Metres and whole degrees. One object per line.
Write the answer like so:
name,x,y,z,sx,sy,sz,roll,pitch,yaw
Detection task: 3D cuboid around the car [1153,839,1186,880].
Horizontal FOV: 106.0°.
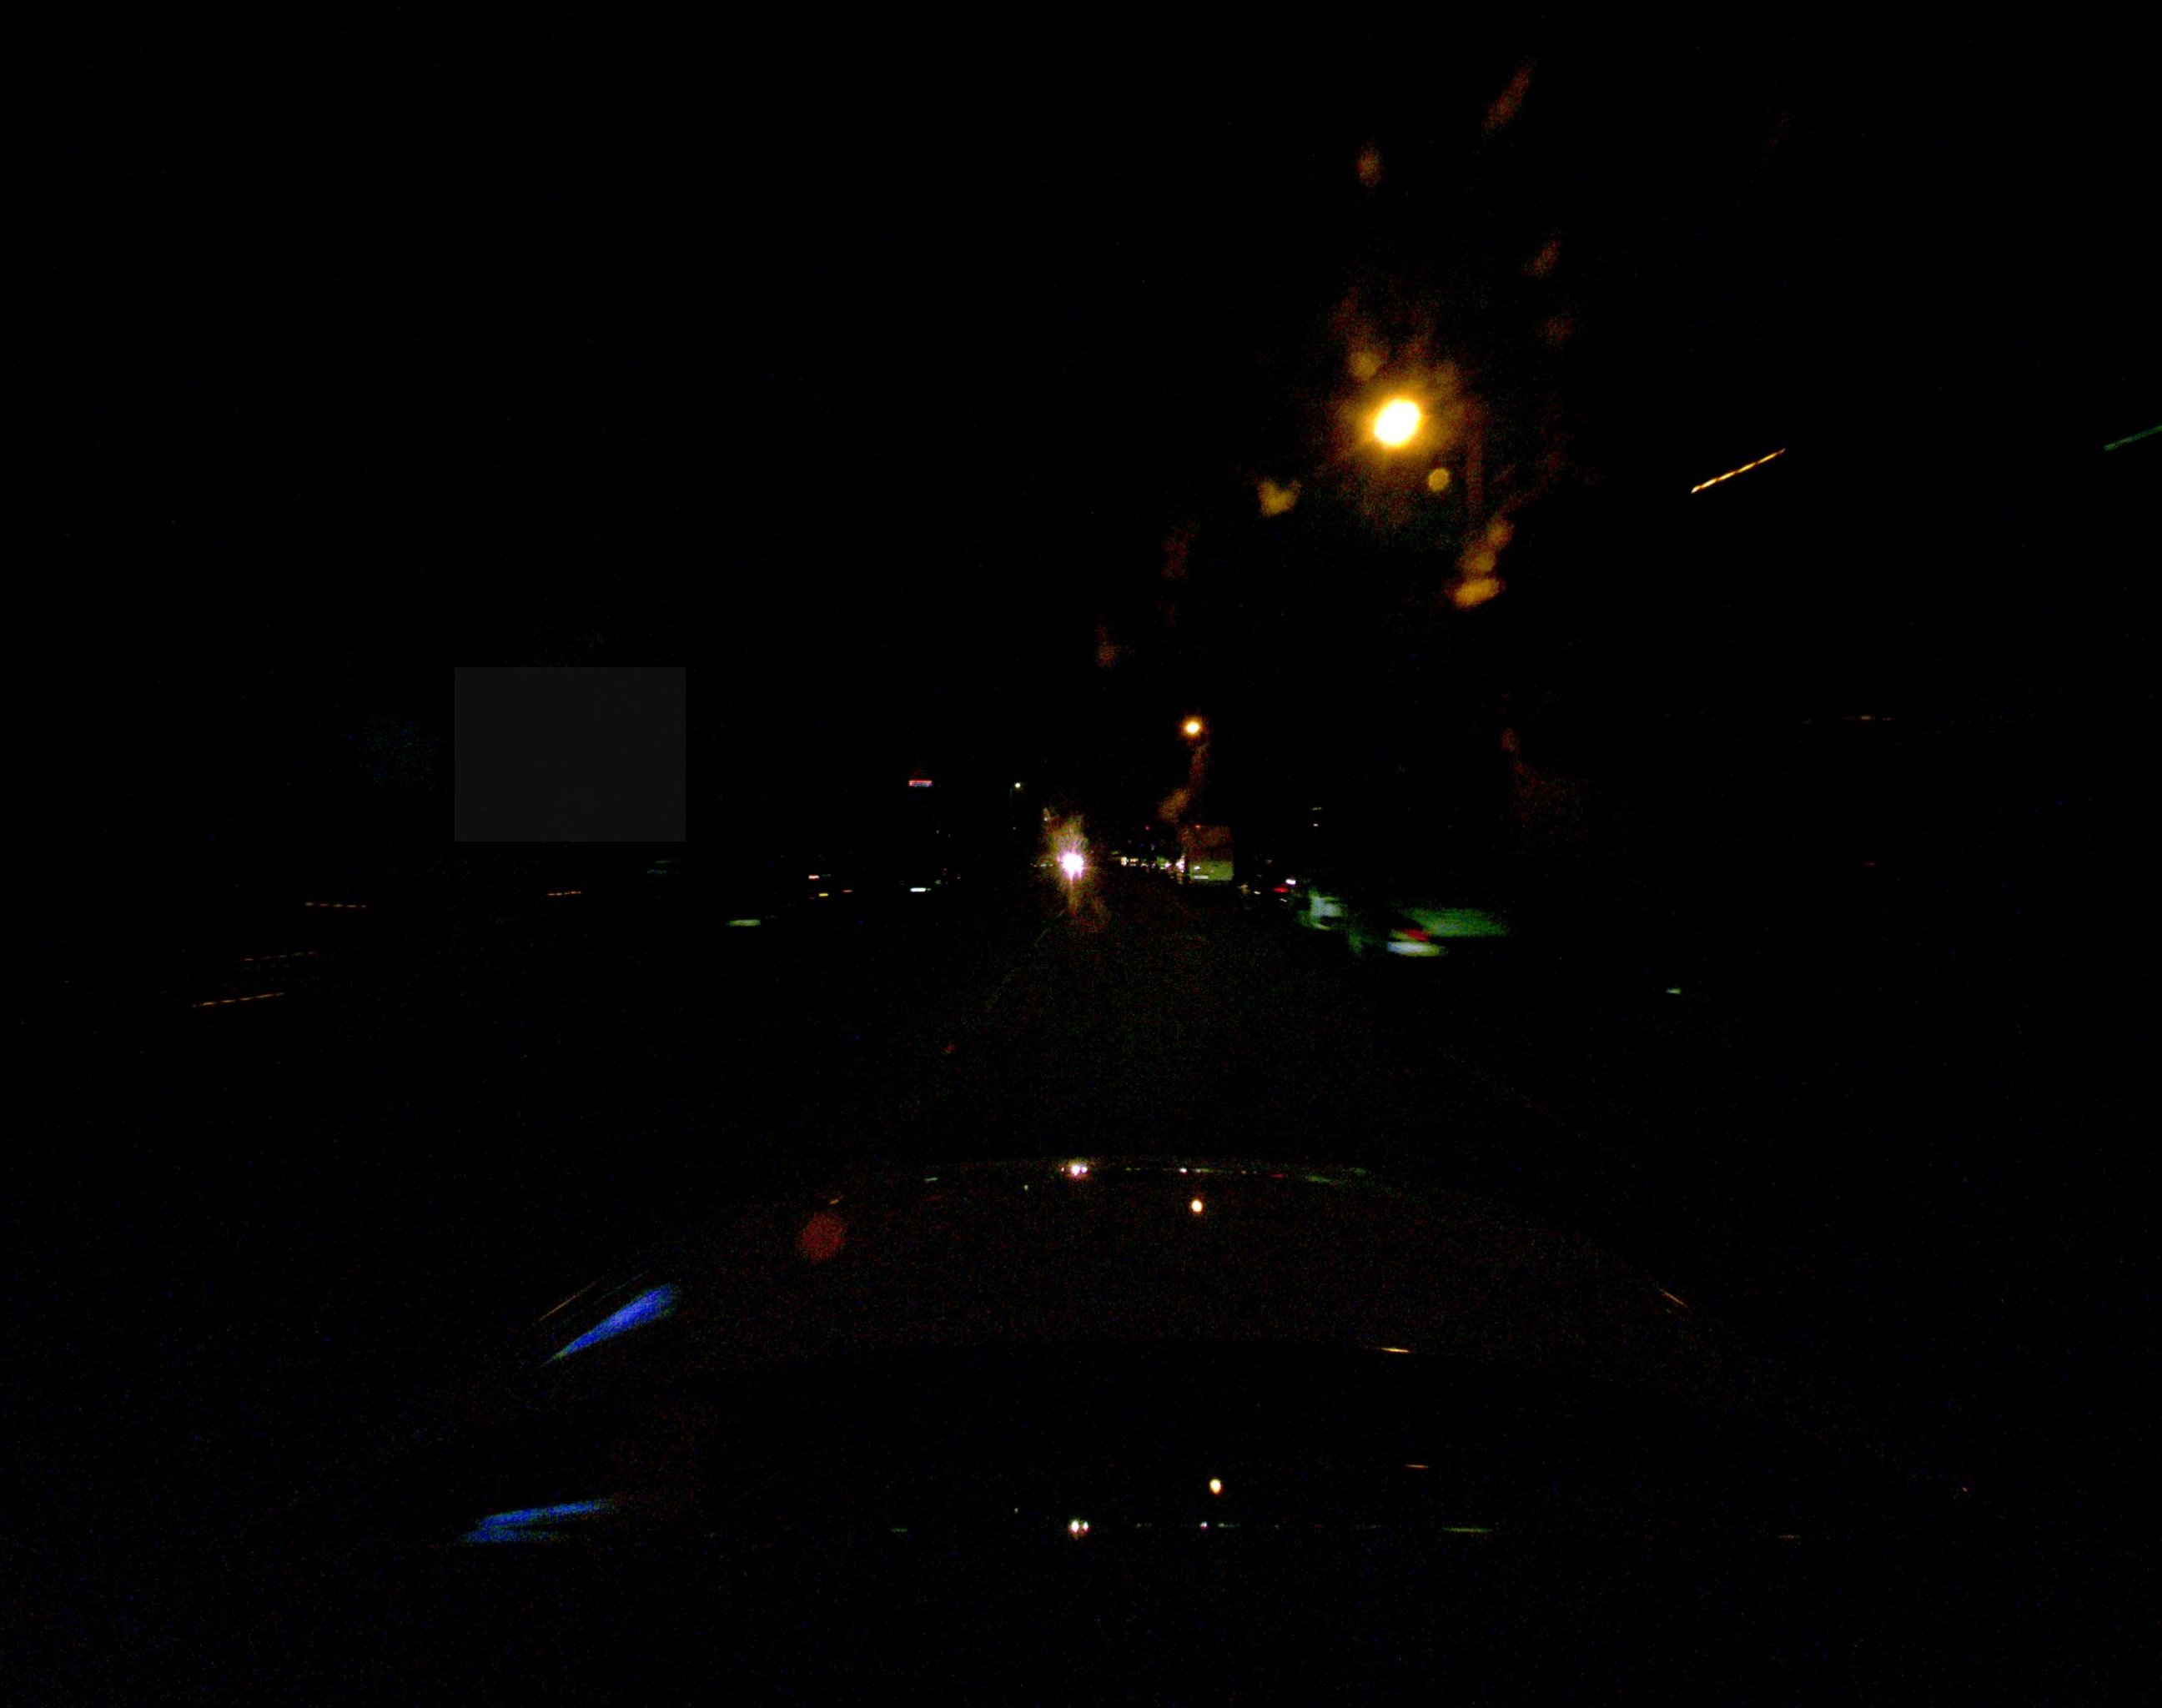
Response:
car,5.898,0.357,54.640,1.984,2.526,5.916,1,0,4

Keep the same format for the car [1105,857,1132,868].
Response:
car,6.857,1.604,149.247,4.341,1.646,1.879,-4,1,-20

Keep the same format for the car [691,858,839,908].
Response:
car,-11.148,0.985,28.759,4.682,1.551,1.982,-1,-1,-27

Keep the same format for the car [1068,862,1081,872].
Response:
car,-0.958,1.877,121.017,1.851,1.420,4.001,-1,-1,1

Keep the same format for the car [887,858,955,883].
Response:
car,-10.971,1.097,55.987,4.094,1.432,1.906,3,1,20

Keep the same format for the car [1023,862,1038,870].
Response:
car,-9.060,2.131,146.436,1.818,1.371,4.337,-1,0,-16

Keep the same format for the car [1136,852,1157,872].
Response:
car,6.956,0.832,86.738,1.986,2.014,4.914,-2,-1,2

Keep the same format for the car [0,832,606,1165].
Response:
car,-6.389,0.807,6.860,1.798,1.799,4.879,-1,0,1

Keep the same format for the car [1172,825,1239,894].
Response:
car,5.051,0.215,33.842,1.986,2.571,6.016,1,0,2

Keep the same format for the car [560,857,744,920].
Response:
car,-11.998,0.928,23.171,4.419,1.560,1.985,-1,-1,-23

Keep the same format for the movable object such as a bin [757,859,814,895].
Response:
movable object such as a bin,-12.966,1.002,35.749,1.850,1.500,1.610,-1,-1,2

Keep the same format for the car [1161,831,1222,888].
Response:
car,5.403,0.264,40.579,2.122,2.571,5.907,1,0,-1

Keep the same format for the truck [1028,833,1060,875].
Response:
truck,-3.741,0.006,84.608,2.737,4.034,9.558,-1,-1,0

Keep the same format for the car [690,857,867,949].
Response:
car,-6.307,0.932,17.697,1.940,1.688,4.816,-1,0,1

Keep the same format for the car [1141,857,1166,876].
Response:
car,5.972,0.978,67.349,1.937,1.489,5.016,-1,0,4

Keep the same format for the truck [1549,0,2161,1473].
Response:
truck,4.023,-0.368,2.116,2.755,3.764,5.231,0,-1,2

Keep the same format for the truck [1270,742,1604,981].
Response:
truck,4.682,0.096,12.288,2.392,2.594,6.601,-1,0,3

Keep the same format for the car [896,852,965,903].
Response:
car,-5.892,0.889,32.337,1.807,1.849,4.415,-1,-1,1

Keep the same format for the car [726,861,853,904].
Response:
car,-11.218,1.066,31.417,4.425,1.440,1.777,-1,-1,-27

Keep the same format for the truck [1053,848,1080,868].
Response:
truck,-3.047,0.842,166.137,2.764,3.783,9.078,-1,-1,-19

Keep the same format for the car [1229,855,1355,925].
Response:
car,4.807,0.752,19.279,1.823,1.407,4.910,1,0,2
